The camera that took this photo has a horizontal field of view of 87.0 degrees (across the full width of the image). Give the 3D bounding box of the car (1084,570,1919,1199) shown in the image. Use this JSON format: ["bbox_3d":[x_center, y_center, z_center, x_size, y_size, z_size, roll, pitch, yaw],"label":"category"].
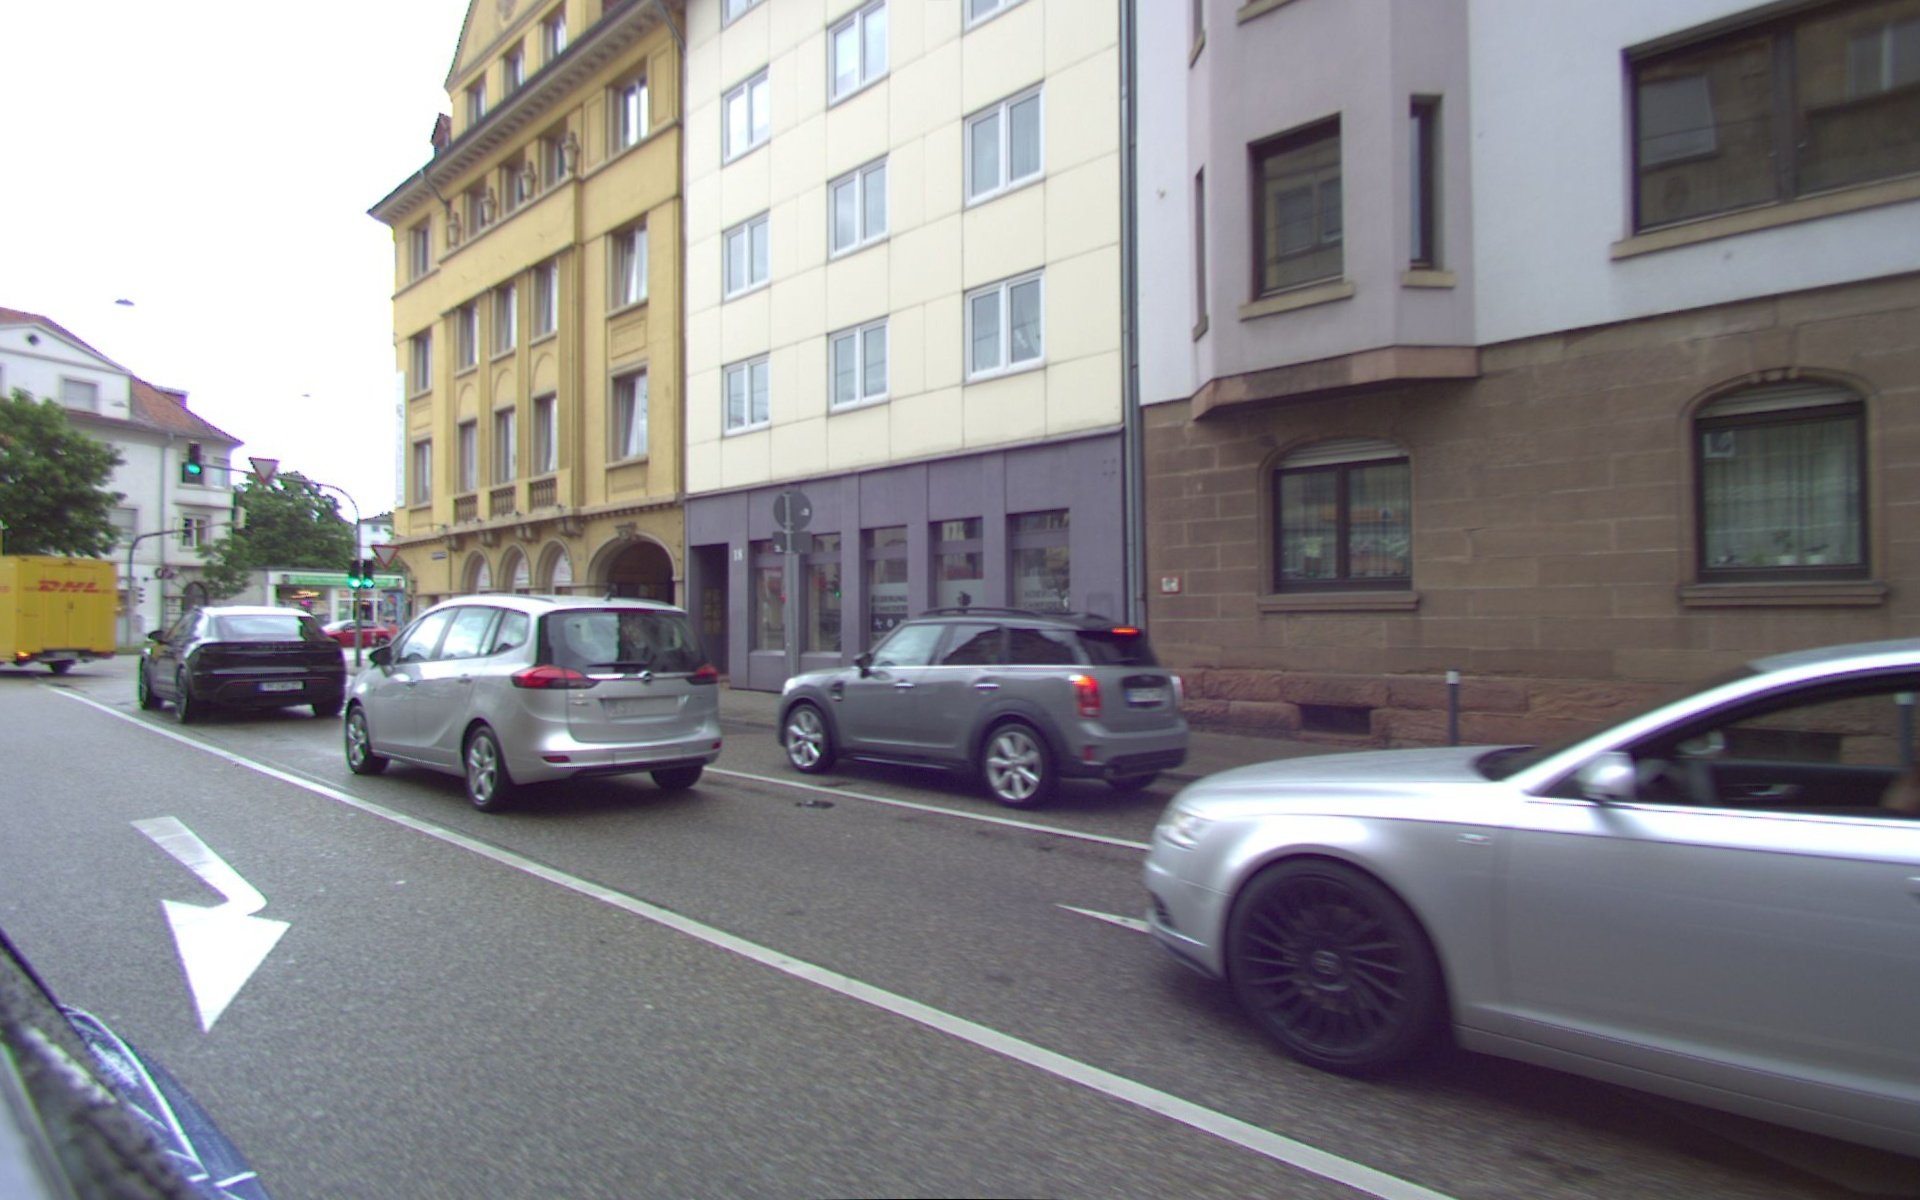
[{"bbox_3d":[2.789,0.694,2.958,4.558,1.481,1.922,-1,-2,42],"label":"car"}]

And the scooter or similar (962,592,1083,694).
[{"bbox_3d":[0.793,0.533,13.090,1.578,1.222,0.456,-1,2,41],"label":"scooter or similar"}]

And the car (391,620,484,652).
[{"bbox_3d":[-27.381,1.862,53.153,2.012,1.596,4.007,0,-1,23],"label":"car"}]

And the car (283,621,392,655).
[{"bbox_3d":[-29.534,1.795,48.166,2.012,1.529,4.007,0,-1,23],"label":"car"}]

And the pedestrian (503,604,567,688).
[{"bbox_3d":[-9.513,1.014,22.679,1.032,1.784,0.884,-1,2,40],"label":"pedestrian"}]

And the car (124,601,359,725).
[{"bbox_3d":[-10.972,0.851,15.319,4.604,1.595,1.922,-1,-2,42],"label":"car"}]

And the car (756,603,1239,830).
[{"bbox_3d":[0.147,0.858,9.430,1.958,1.607,4.340,2,-2,-45],"label":"car"}]

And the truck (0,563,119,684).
[{"bbox_3d":[-24.681,0.565,25.870,6.987,2.771,2.215,0,-1,26],"label":"truck"}]

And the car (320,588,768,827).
[{"bbox_3d":[-3.877,0.757,9.013,4.520,1.595,1.922,-1,-2,42],"label":"car"}]
